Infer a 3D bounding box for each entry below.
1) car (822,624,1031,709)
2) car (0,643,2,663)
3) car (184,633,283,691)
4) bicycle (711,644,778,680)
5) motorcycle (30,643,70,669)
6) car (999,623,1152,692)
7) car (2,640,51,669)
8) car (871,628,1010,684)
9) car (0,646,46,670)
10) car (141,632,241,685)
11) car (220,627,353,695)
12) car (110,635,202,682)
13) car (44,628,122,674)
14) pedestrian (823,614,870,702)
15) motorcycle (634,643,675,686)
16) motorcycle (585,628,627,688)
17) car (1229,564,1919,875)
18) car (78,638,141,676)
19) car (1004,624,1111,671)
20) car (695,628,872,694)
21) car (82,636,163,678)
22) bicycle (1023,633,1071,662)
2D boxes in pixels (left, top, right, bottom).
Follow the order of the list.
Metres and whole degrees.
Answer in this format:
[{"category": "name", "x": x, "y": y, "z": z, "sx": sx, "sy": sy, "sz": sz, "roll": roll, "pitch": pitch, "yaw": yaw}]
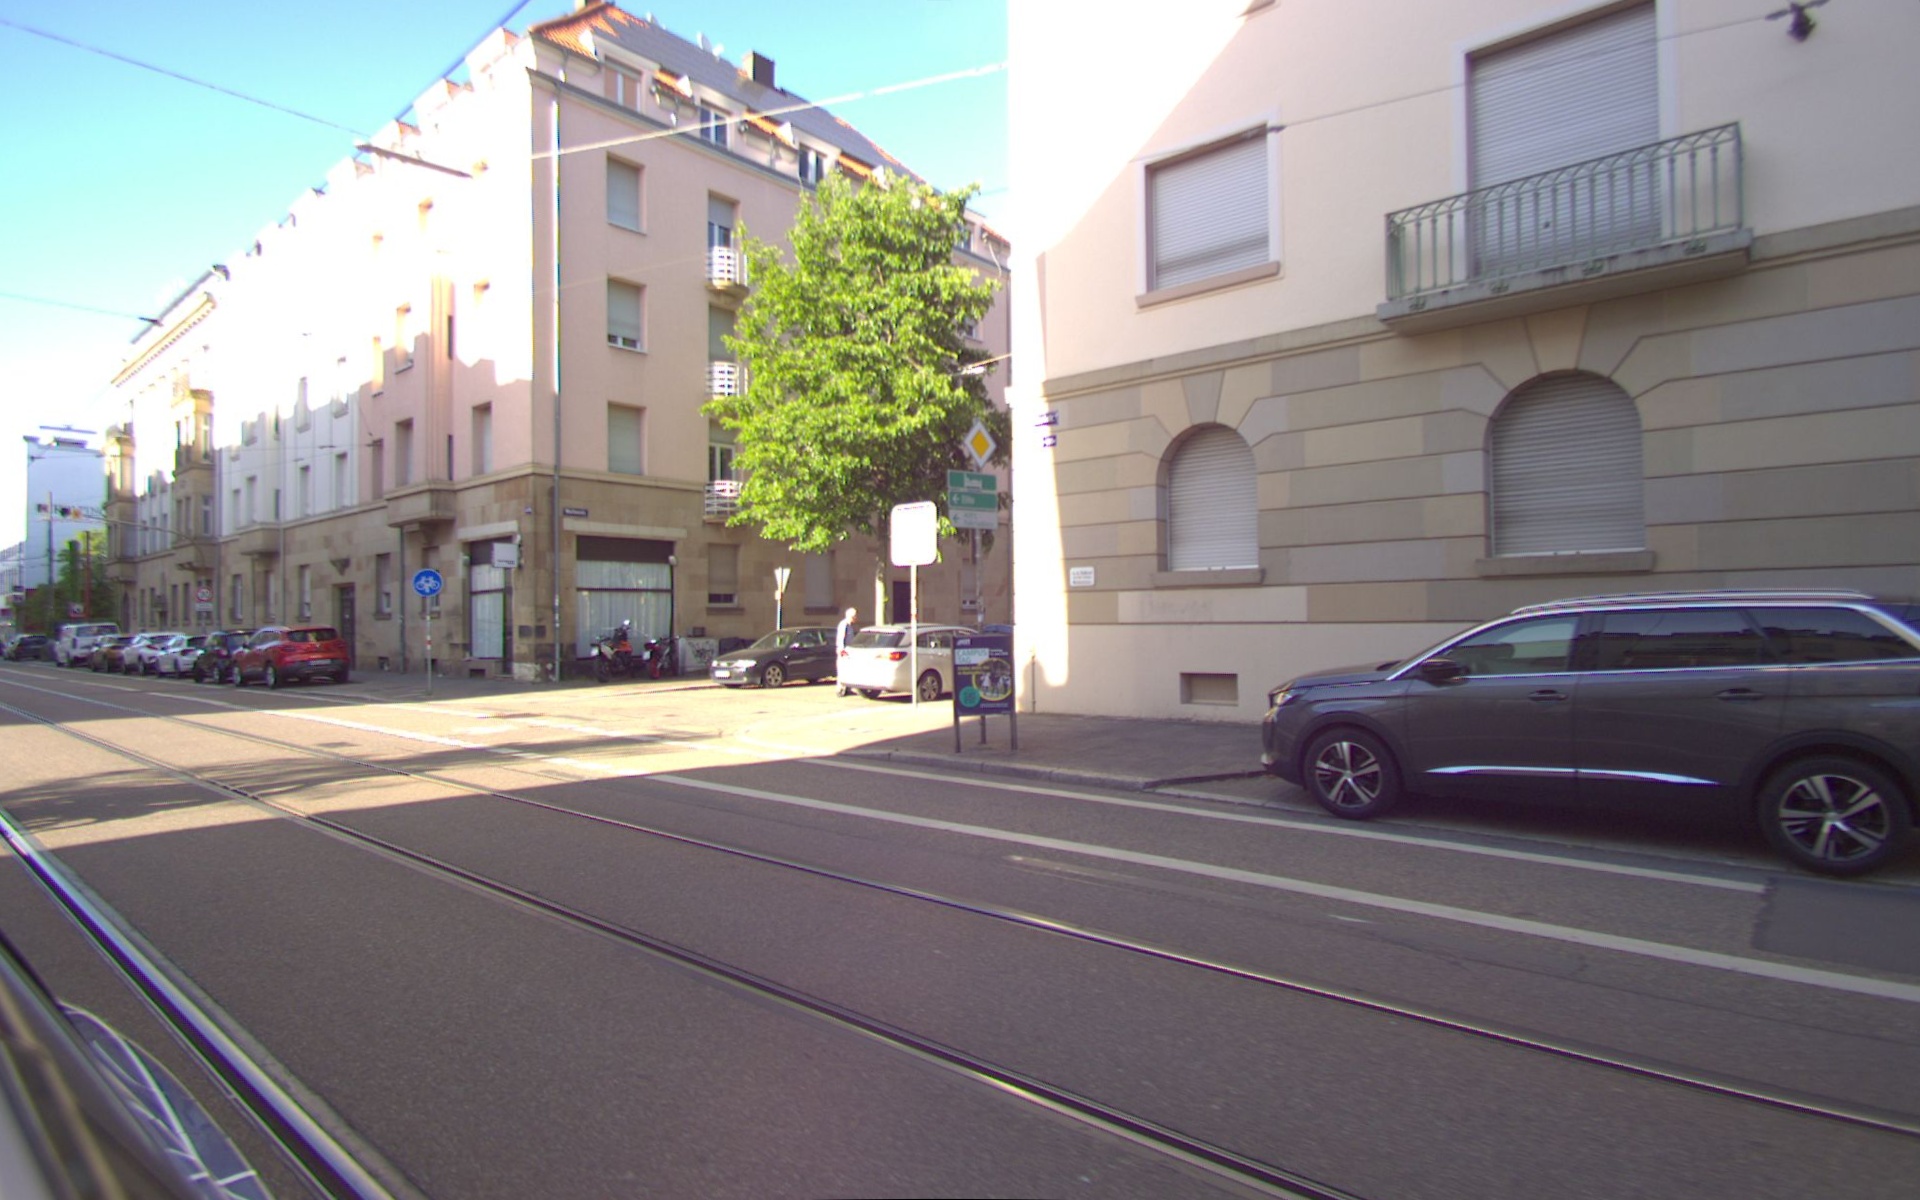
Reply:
[{"category": "car", "x": -0.566, "y": 1.260, "z": 20.073, "sx": 1.781, "sy": 1.476, "sz": 4.174, "roll": -4, "pitch": -3, "yaw": 40}, {"category": "car", "x": -73.344, "y": 4.028, "z": 75.907, "sx": 4.839, "sy": 1.456, "sz": 1.764, "roll": -2, "pitch": 0, "yaw": 42}, {"category": "car", "x": -21.855, "y": 1.836, "z": 30.427, "sx": 3.018, "sy": 1.564, "sz": 1.765, "roll": -2, "pitch": 0, "yaw": 41}, {"category": "bicycle", "x": -6.056, "y": 1.721, "z": 28.437, "sx": 1.763, "sy": 0.940, "sz": 0.615, "roll": 0, "pitch": -2, "yaw": -41}, {"category": "motorcycle", "x": -50.122, "y": 3.054, "z": 55.758, "sx": 0.871, "sy": 1.361, "sz": 1.963, "roll": -1, "pitch": -1, "yaw": -17}, {"category": "car", "x": 2.830, "y": 1.347, "z": 24.249, "sx": 1.840, "sy": 1.476, "sz": 3.757, "roll": -4, "pitch": -3, "yaw": 40}, {"category": "car", "x": -55.138, "y": 3.178, "z": 59.763, "sx": 4.610, "sy": 1.577, "sz": 1.764, "roll": -2, "pitch": 0, "yaw": 43}, {"category": "car", "x": -0.489, "y": 1.529, "z": 28.624, "sx": 1.746, "sy": 1.405, "sz": 3.946, "roll": -2, "pitch": -2, "yaw": 40}, {"category": "car", "x": -59.023, "y": 3.622, "z": 63.662, "sx": 4.219, "sy": 1.324, "sz": 1.765, "roll": -2, "pitch": 0, "yaw": 41}, {"category": "car", "x": -26.264, "y": 1.966, "z": 34.537, "sx": 4.175, "sy": 1.634, "sz": 1.766, "roll": -2, "pitch": 0, "yaw": 39}, {"category": "car", "x": -18.345, "y": 1.608, "z": 27.482, "sx": 4.392, "sy": 1.618, "sz": 1.766, "roll": -2, "pitch": 0, "yaw": 39}, {"category": "car", "x": -29.961, "y": 2.138, "z": 37.674, "sx": 4.361, "sy": 1.558, "sz": 1.754, "roll": -2, "pitch": 0, "yaw": 39}, {"category": "car", "x": -41.444, "y": 2.389, "z": 47.780, "sx": 5.248, "sy": 1.963, "sz": 1.953, "roll": -2, "pitch": 0, "yaw": 40}, {"category": "pedestrian", "x": -2.282, "y": 1.151, "z": 20.318, "sx": 0.731, "sy": 1.725, "sz": 0.600, "roll": -2, "pitch": -2, "yaw": 41}, {"category": "motorcycle", "x": -7.886, "y": 1.644, "z": 26.179, "sx": 0.549, "sy": 1.043, "sz": 2.037, "roll": -1, "pitch": -2, "yaw": -3}, {"category": "motorcycle", "x": -8.822, "y": 1.416, "z": 25.228, "sx": 0.934, "sy": 1.429, "sz": 2.032, "roll": 0, "pitch": -2, "yaw": -19}, {"category": "car", "x": 4.530, "y": 0.687, "z": 7.290, "sx": 4.663, "sy": 1.703, "sz": 1.766, "roll": -2, "pitch": 0, "yaw": 39}, {"category": "car", "x": -37.415, "y": 2.479, "z": 44.500, "sx": 3.644, "sy": 1.484, "sz": 1.586, "roll": -2, "pitch": 0, "yaw": 41}, {"category": "car", "x": 3.274, "y": 1.551, "z": 33.586, "sx": 1.746, "sy": 1.433, "sz": 3.665, "roll": -4, "pitch": -3, "yaw": 40}, {"category": "car", "x": -4.133, "y": 1.423, "z": 24.177, "sx": 1.746, "sy": 1.405, "sz": 3.946, "roll": -4, "pitch": -3, "yaw": 40}, {"category": "car", "x": -34.048, "y": 2.300, "z": 41.113, "sx": 4.356, "sy": 1.535, "sz": 1.765, "roll": -2, "pitch": 0, "yaw": 40}, {"category": "bicycle", "x": 3.452, "y": 1.881, "z": 40.085, "sx": 0.614, "sy": 1.095, "sz": 2.444, "roll": -2, "pitch": -4, "yaw": 40}]
